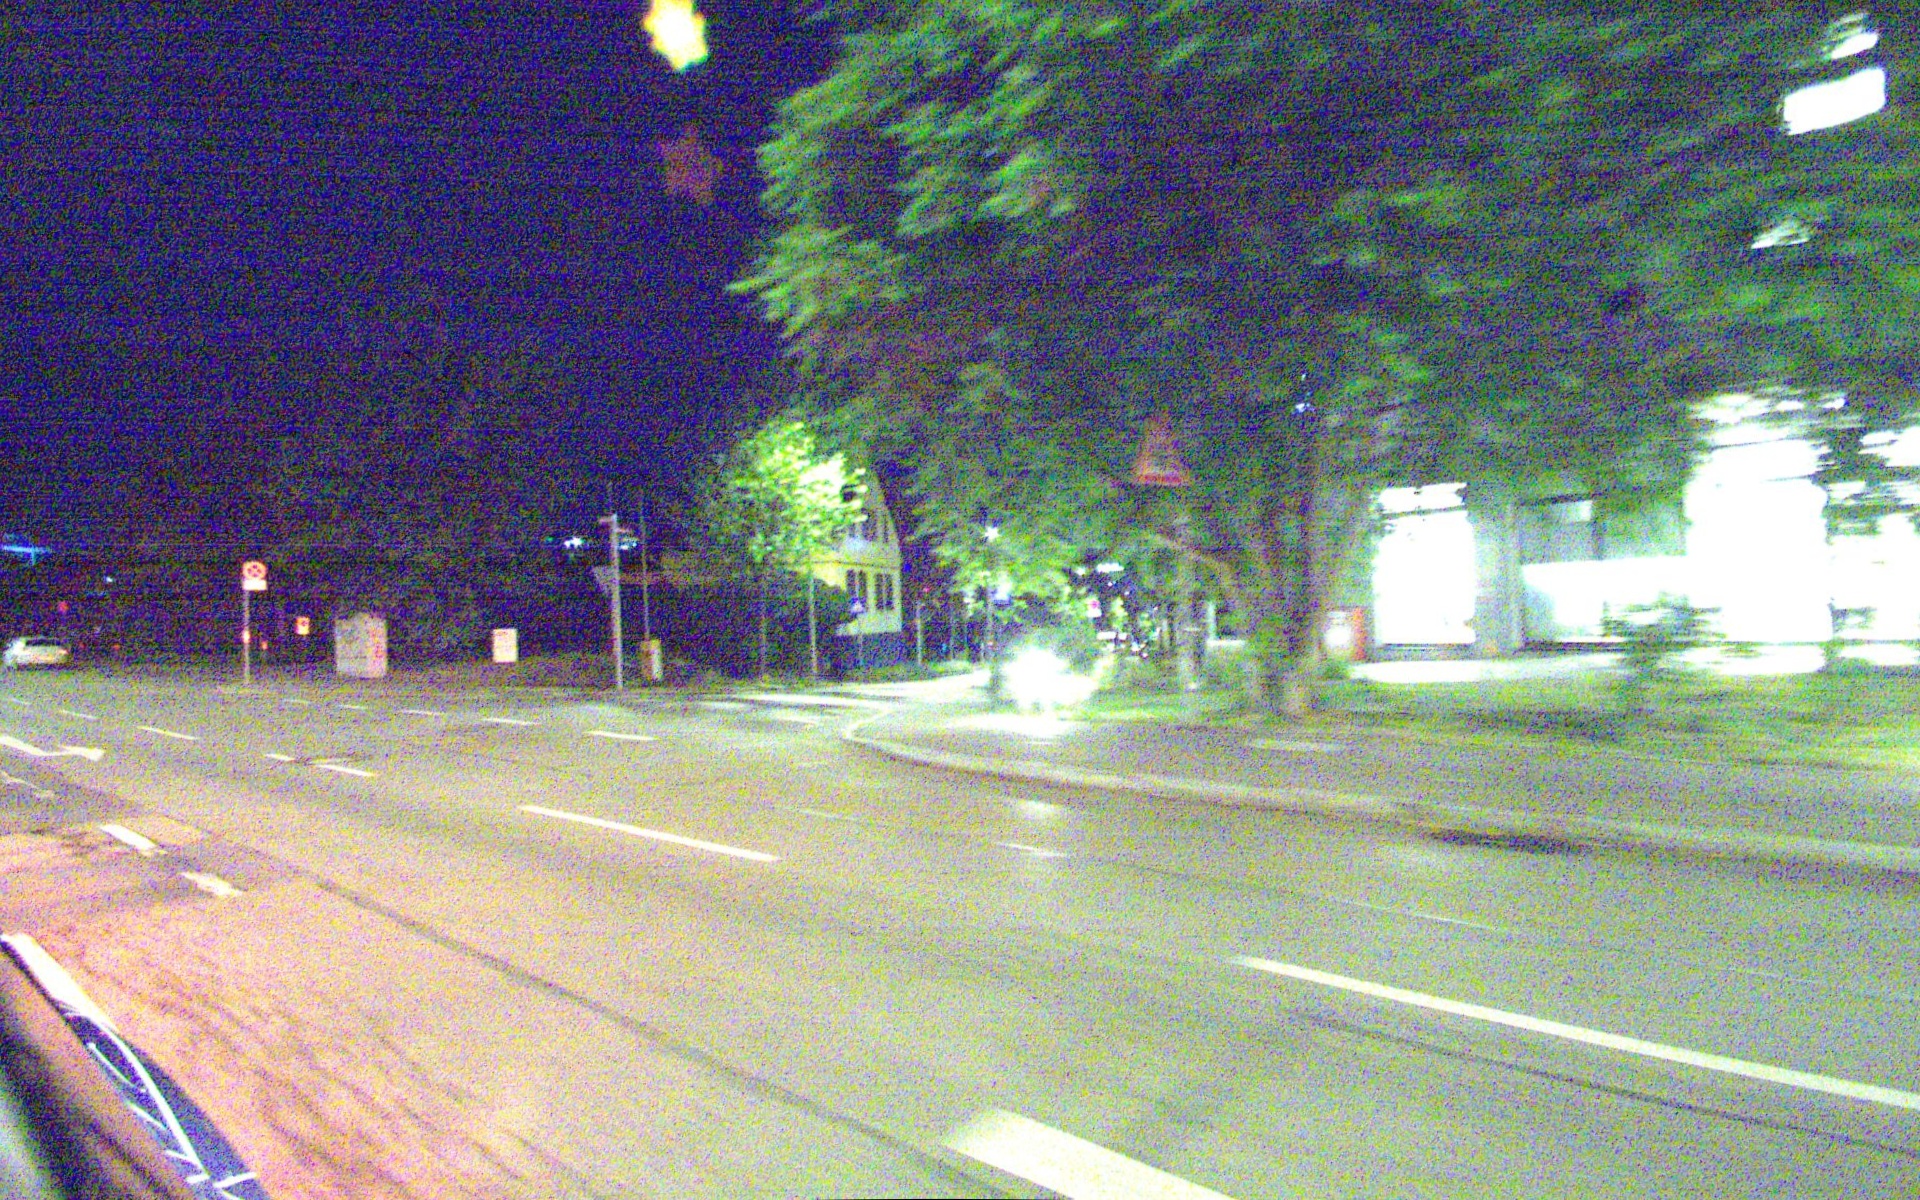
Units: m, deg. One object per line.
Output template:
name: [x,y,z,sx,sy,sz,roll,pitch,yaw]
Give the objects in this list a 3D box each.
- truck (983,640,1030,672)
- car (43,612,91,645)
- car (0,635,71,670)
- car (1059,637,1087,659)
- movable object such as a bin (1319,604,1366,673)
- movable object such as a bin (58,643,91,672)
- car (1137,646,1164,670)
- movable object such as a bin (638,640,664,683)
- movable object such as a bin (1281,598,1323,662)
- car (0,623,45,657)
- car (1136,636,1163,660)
truck: [2.871,3.383,61.541,1.982,1.807,3.980,2,-2,15]
car: [-65.214,2.127,73.888,4.625,2.339,2.183,-3,-3,44]
car: [-40.241,2.262,43.916,4.335,1.414,1.891,-2,-2,41]
car: [9.562,4.036,85.450,1.820,1.725,3.897,-3,-3,13]
movable object such as a bin: [8.325,0.843,22.032,0.809,1.463,0.435,-4,-4,44]
movable object such as a bin: [-47.987,3.107,54.820,1.064,1.507,1.153,-2,-2,37]
car: [14.488,4.418,76.843,1.859,1.654,3.984,-1,-1,13]
movable object such as a bin: [-9.537,1.899,31.247,0.561,1.317,0.620,0,-3,2]
movable object such as a bin: [7.697,0.676,22.796,0.732,1.381,0.352,-6,-6,41]
car: [-66.394,2.857,71.631,4.967,2.339,1.971,-3,-4,44]
car: [15.482,3.873,82.410,1.980,1.850,3.983,0,-2,13]
